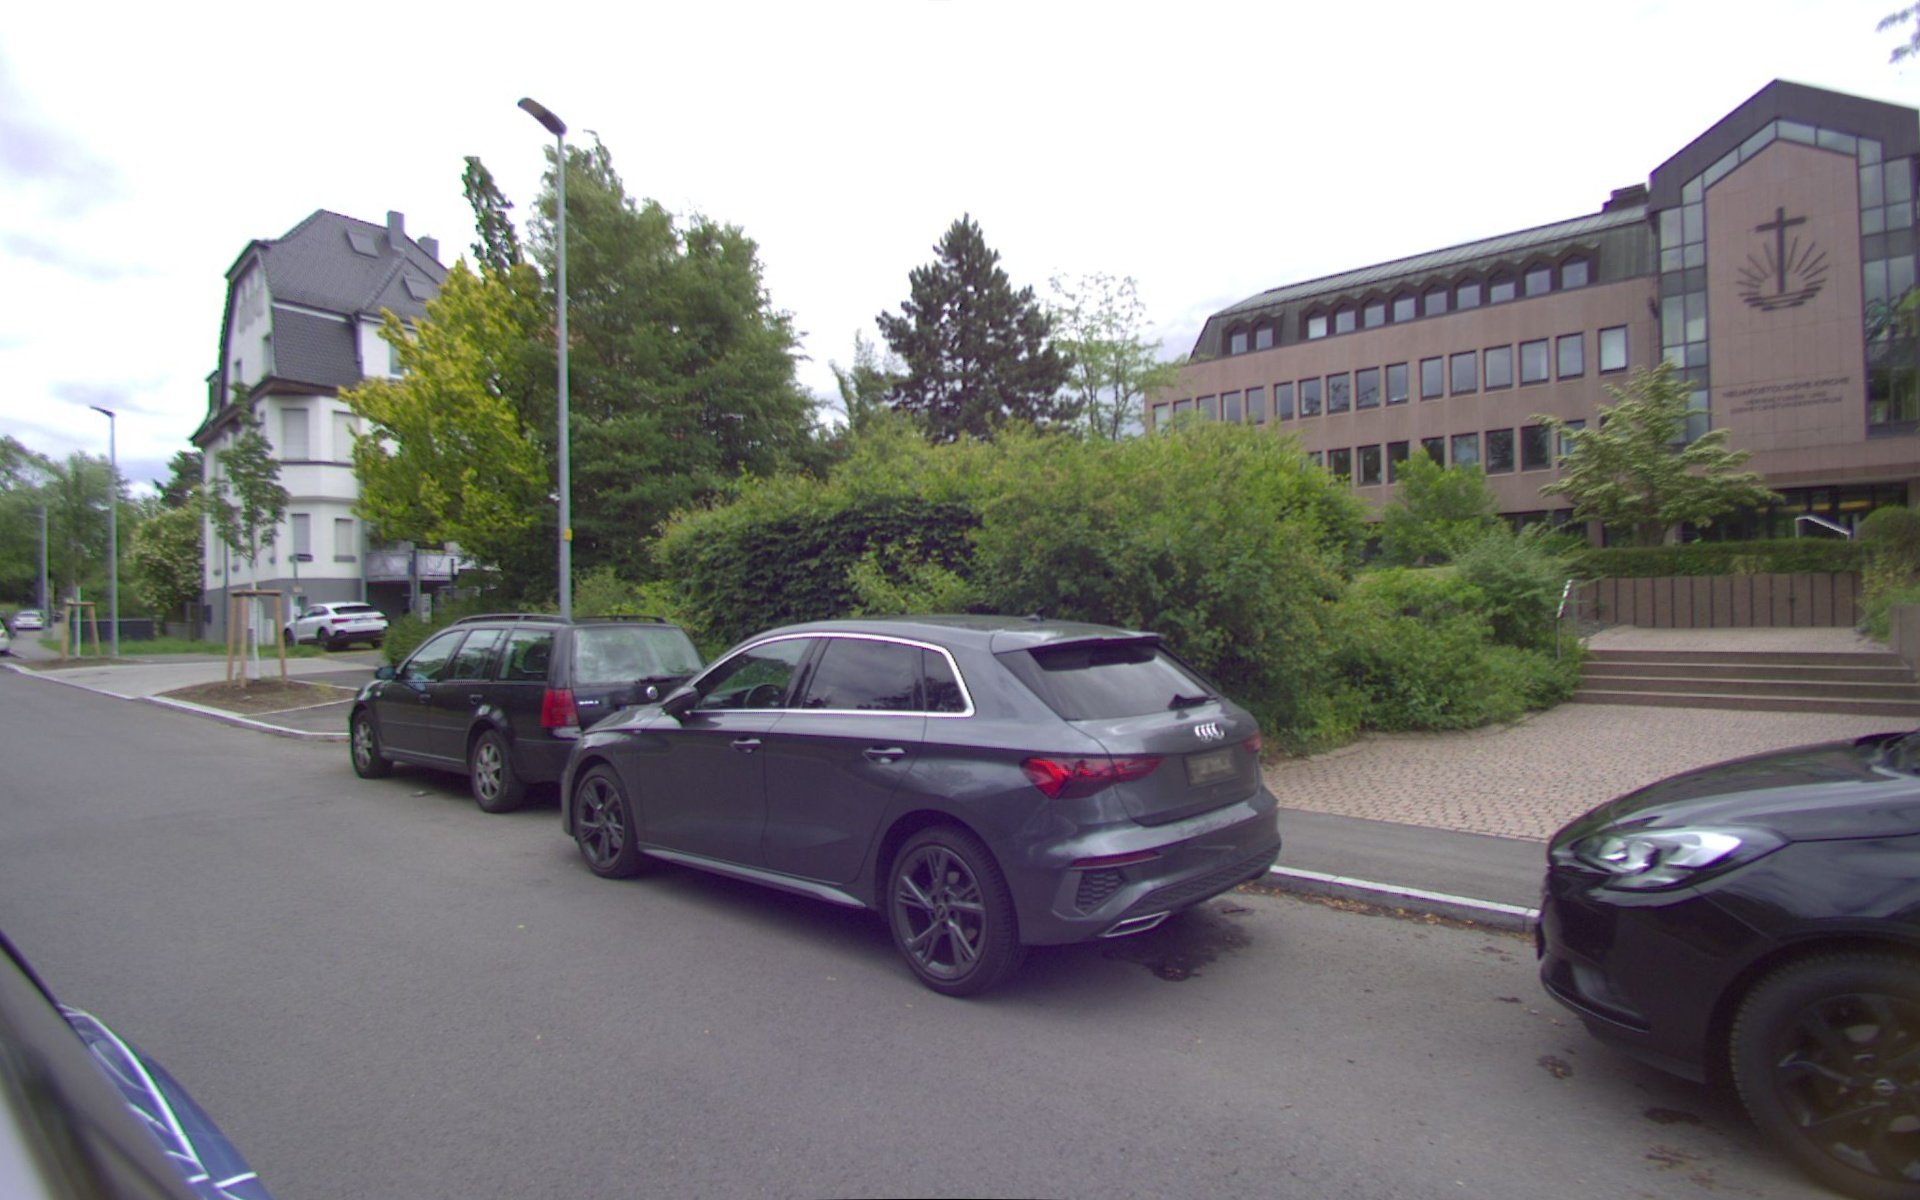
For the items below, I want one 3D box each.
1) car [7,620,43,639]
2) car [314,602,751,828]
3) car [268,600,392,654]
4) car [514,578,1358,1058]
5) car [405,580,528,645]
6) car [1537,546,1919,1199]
[{"bbox_3d":[-73.171,2.283,79.265,1.709,1.439,3.465,2,-1,-37],"label":"car"},{"bbox_3d":[-3.952,0.809,8.894,4.690,1.493,1.665,-1,-2,41],"label":"car"},{"bbox_3d":[-20.774,0.823,33.331,4.589,1.544,1.888,1,3,37],"label":"car"},{"bbox_3d":[-0.490,0.723,5.303,4.494,1.493,1.688,-1,-2,42],"label":"car"},{"bbox_3d":[-17.429,0.382,35.677,4.756,2.066,1.888,0,3,37],"label":"car"},{"bbox_3d":[3.623,0.618,2.081,3.998,1.493,1.607,-1,-2,41],"label":"car"}]
